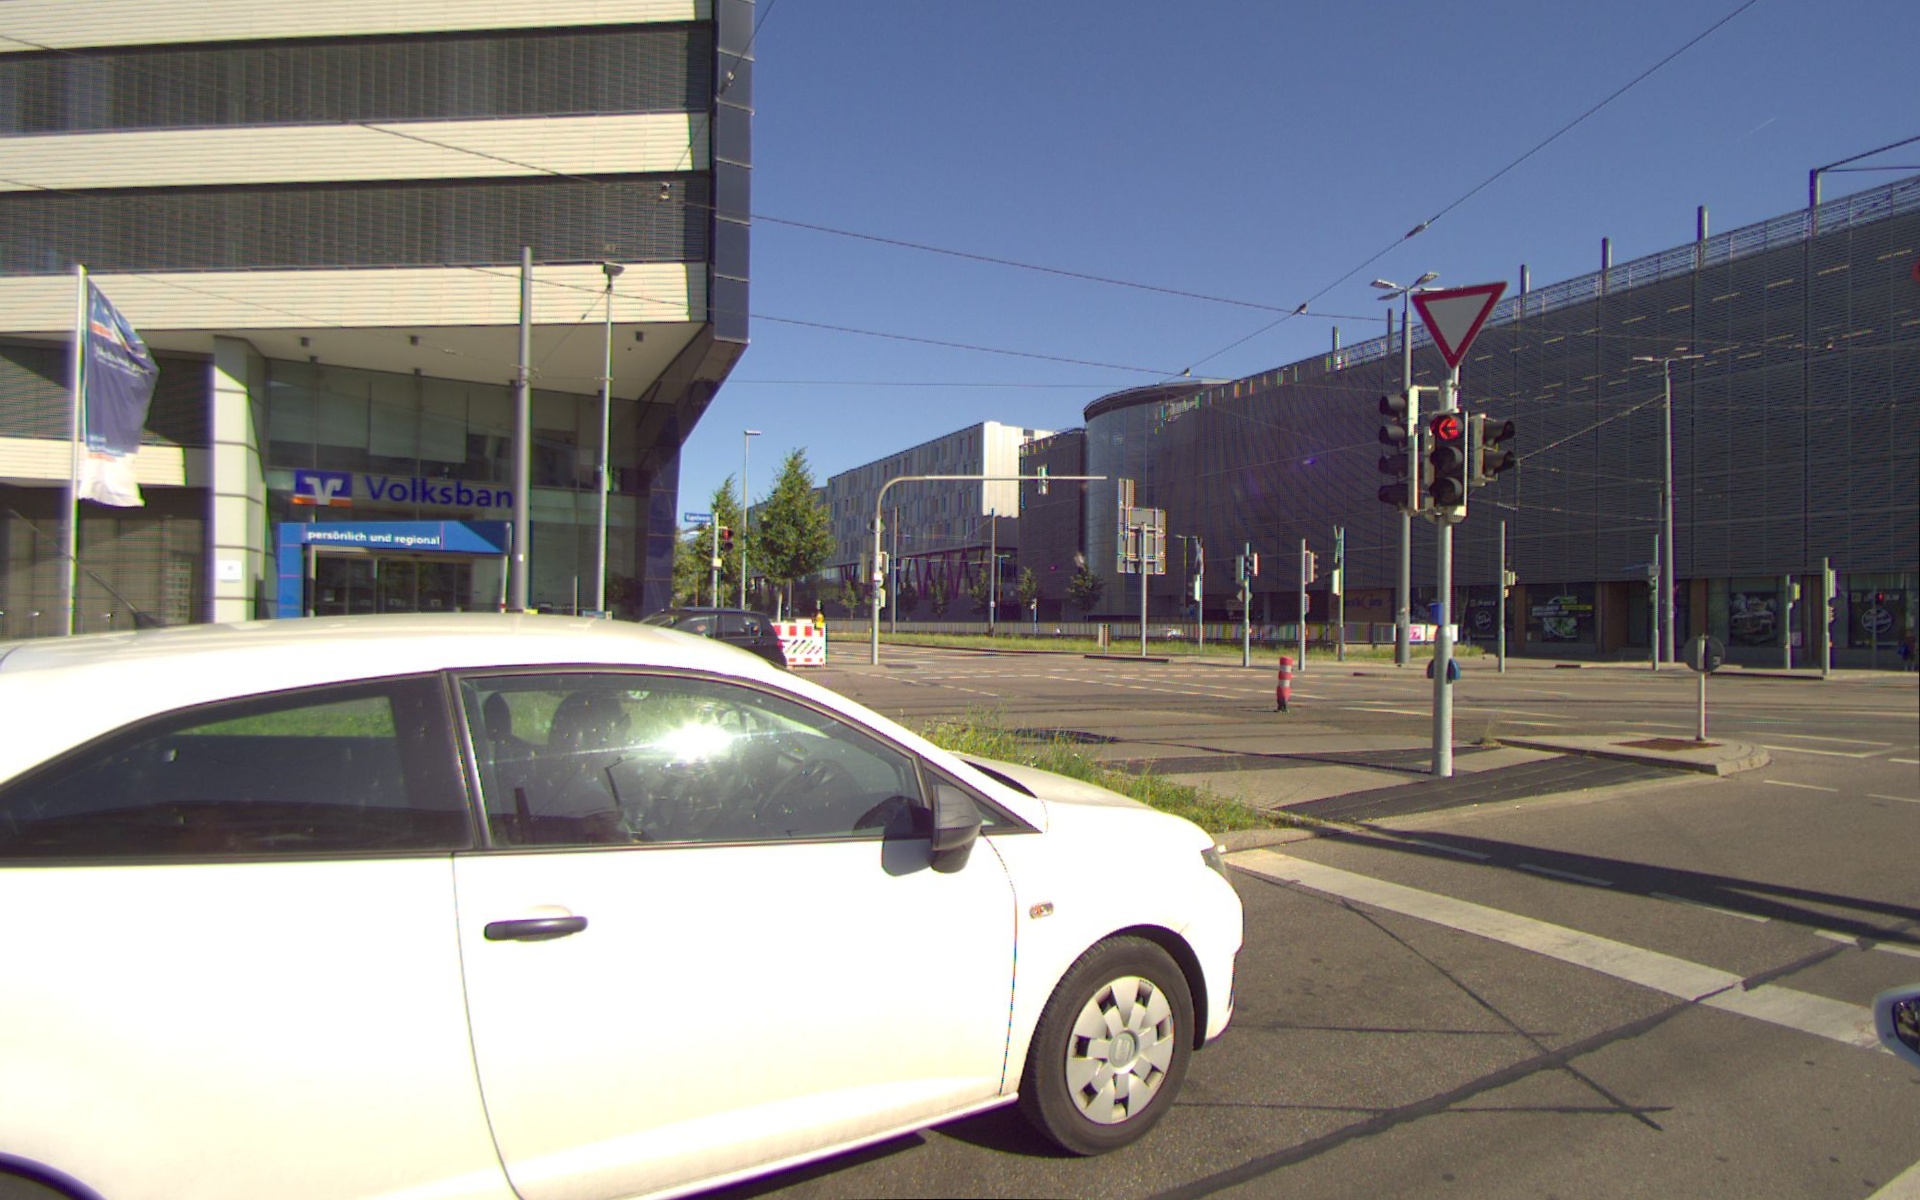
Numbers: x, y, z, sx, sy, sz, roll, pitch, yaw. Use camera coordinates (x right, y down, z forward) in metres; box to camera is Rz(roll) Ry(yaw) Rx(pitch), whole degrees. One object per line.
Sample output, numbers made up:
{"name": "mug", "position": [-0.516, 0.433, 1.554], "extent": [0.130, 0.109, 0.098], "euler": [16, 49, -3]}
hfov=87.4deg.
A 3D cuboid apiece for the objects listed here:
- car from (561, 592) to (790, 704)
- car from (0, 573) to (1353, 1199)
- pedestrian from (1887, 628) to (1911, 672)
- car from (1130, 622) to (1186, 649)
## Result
{"name": "car", "position": [-4.828, 0.790, 17.360], "extent": [1.559, 1.729, 3.532], "euler": [-1, -2, 43]}
{"name": "car", "position": [-0.964, 0.739, 2.786], "extent": [3.977, 1.460, 1.723], "euler": [2, 1, -31]}
{"name": "pedestrian", "position": [39.960, 2.125, 42.726], "extent": [0.687, 1.821, 0.726], "euler": [-2, -3, 44]}
{"name": "car", "position": [15.221, 2.719, 77.472], "extent": [1.819, 1.887, 4.306], "euler": [2, -1, -30]}
